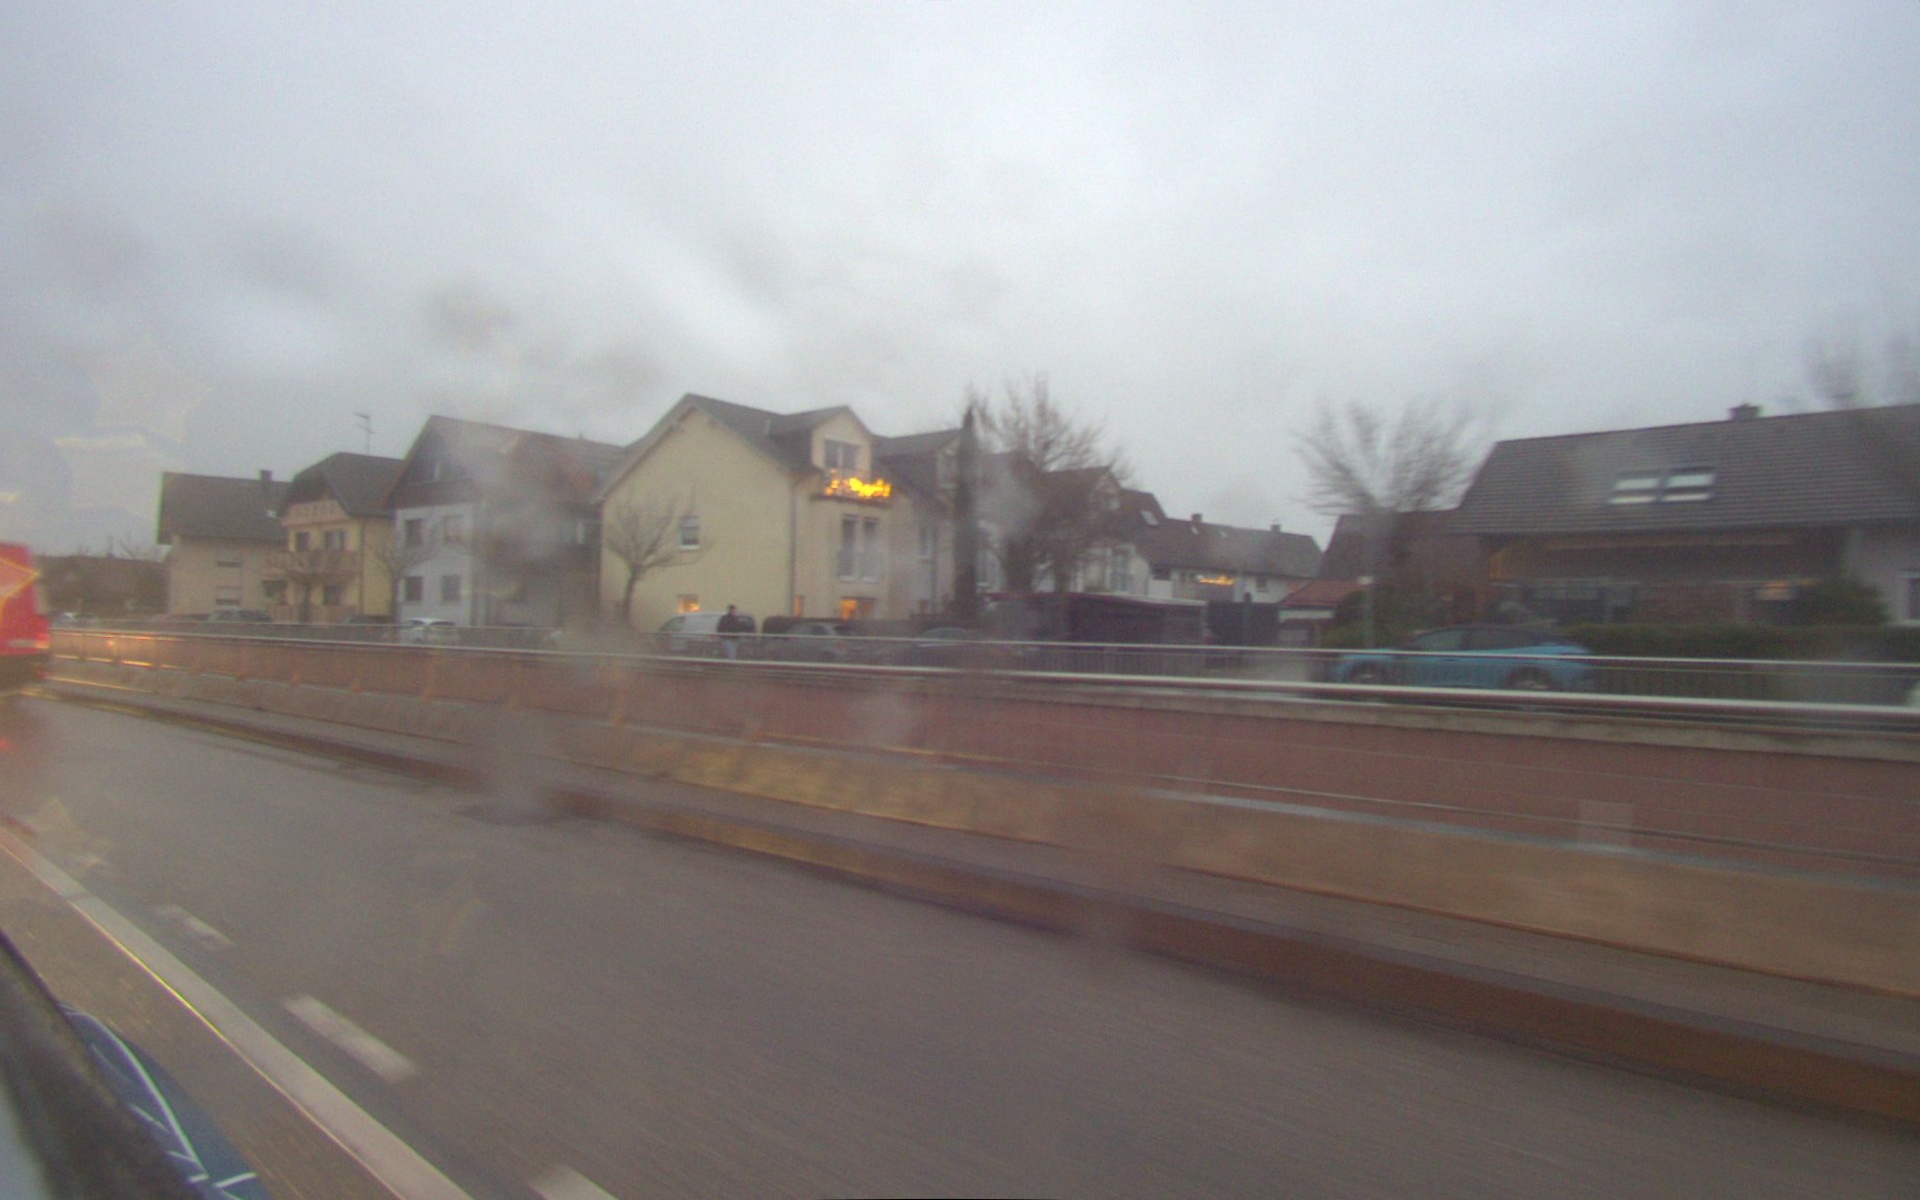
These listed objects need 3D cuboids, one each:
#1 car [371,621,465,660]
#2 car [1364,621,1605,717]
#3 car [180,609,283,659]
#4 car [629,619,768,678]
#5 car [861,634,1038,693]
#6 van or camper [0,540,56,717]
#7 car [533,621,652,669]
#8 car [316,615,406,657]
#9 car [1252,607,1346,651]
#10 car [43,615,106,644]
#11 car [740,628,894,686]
[{"bbox_3d":[-22.844,1.671,42.658,4.019,1.535,1.755,0,-1,33],"label":"car"},{"bbox_3d":[9.758,1.235,18.932,3.813,1.592,1.551,0,-3,36],"label":"car"},{"bbox_3d":[-28.645,1.309,39.771,3.844,1.817,1.787,0,-1,29],"label":"car"},{"bbox_3d":[-8.528,1.580,32.925,4.489,1.792,1.858,-1,-4,34],"label":"car"},{"bbox_3d":[-0.328,1.652,26.939,4.492,1.444,1.857,-1,-4,36],"label":"car"},{"bbox_3d":[-17.484,0.474,17.009,6.545,2.689,2.219,-1,-3,38],"label":"van or camper"},{"bbox_3d":[-13.199,1.612,36.260,4.214,1.611,1.858,-1,-4,34],"label":"car"},{"bbox_3d":[-26.453,1.571,44.668,3.988,1.694,1.844,0,1,33],"label":"car"},{"bbox_3d":[16.626,1.371,49.654,3.990,2.029,1.977,0,0,34],"label":"car"},{"bbox_3d":[-54.091,1.785,61.817,3.972,1.636,1.803,-1,1,32],"label":"car"},{"bbox_3d":[-4.267,1.659,29.989,4.492,1.585,1.857,-1,-4,36],"label":"car"}]
